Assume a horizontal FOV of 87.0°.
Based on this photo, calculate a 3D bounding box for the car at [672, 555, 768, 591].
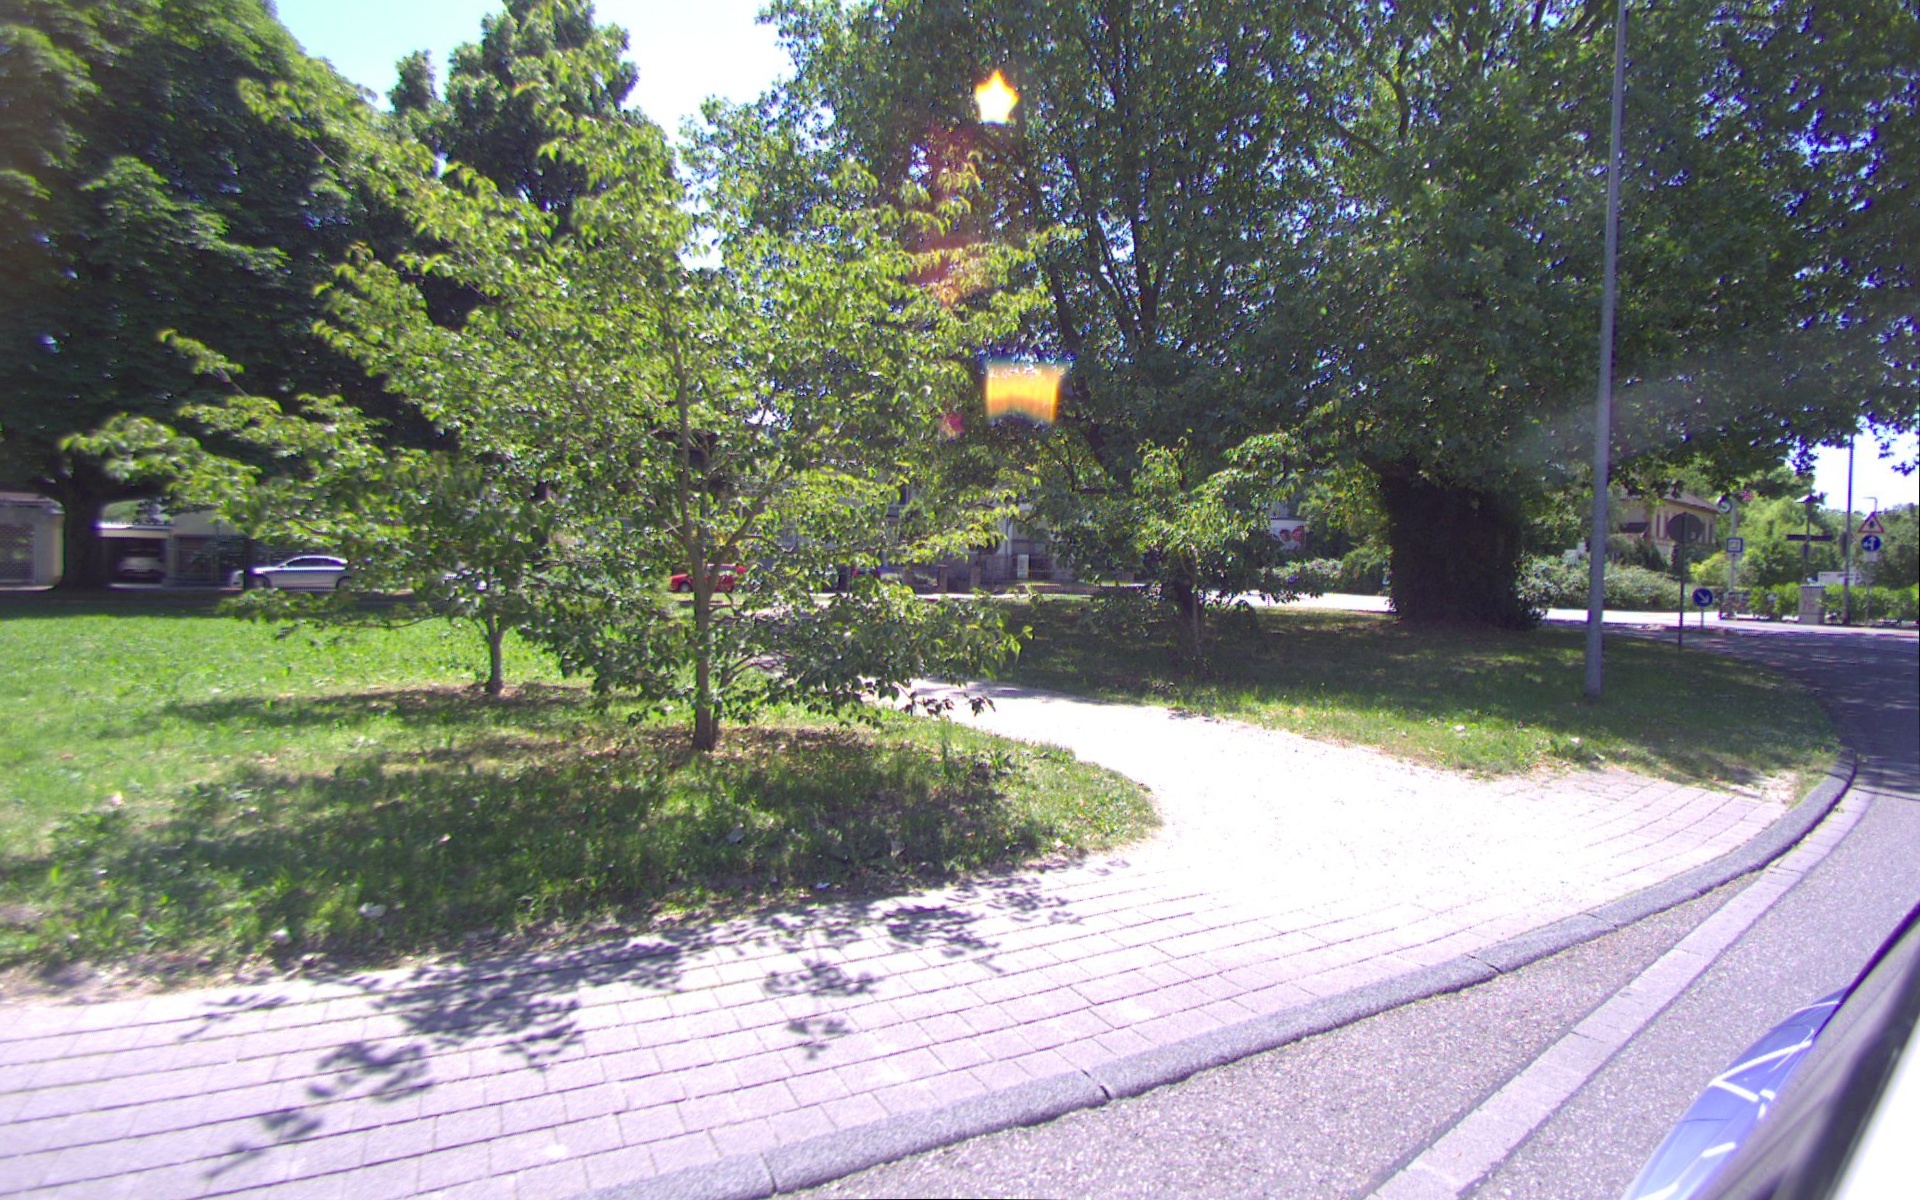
[{"bbox_3d":[-10.976,-1.236,46.340,3.920,1.543,1.756,0,2,-30],"label":"car"}]

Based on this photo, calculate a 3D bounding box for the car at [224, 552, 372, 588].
[{"bbox_3d":[-25.315,-1.171,38.912,4.620,1.303,1.674,-1,3,-28],"label":"car"}]

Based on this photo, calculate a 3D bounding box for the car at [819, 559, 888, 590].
[{"bbox_3d":[-5.841,-1.408,55.219,1.963,1.587,4.000,0,3,-36],"label":"car"}]

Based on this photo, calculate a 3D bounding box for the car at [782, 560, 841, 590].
[{"bbox_3d":[-7.822,-1.334,53.159,1.959,1.408,4.008,0,2,-26],"label":"car"}]
